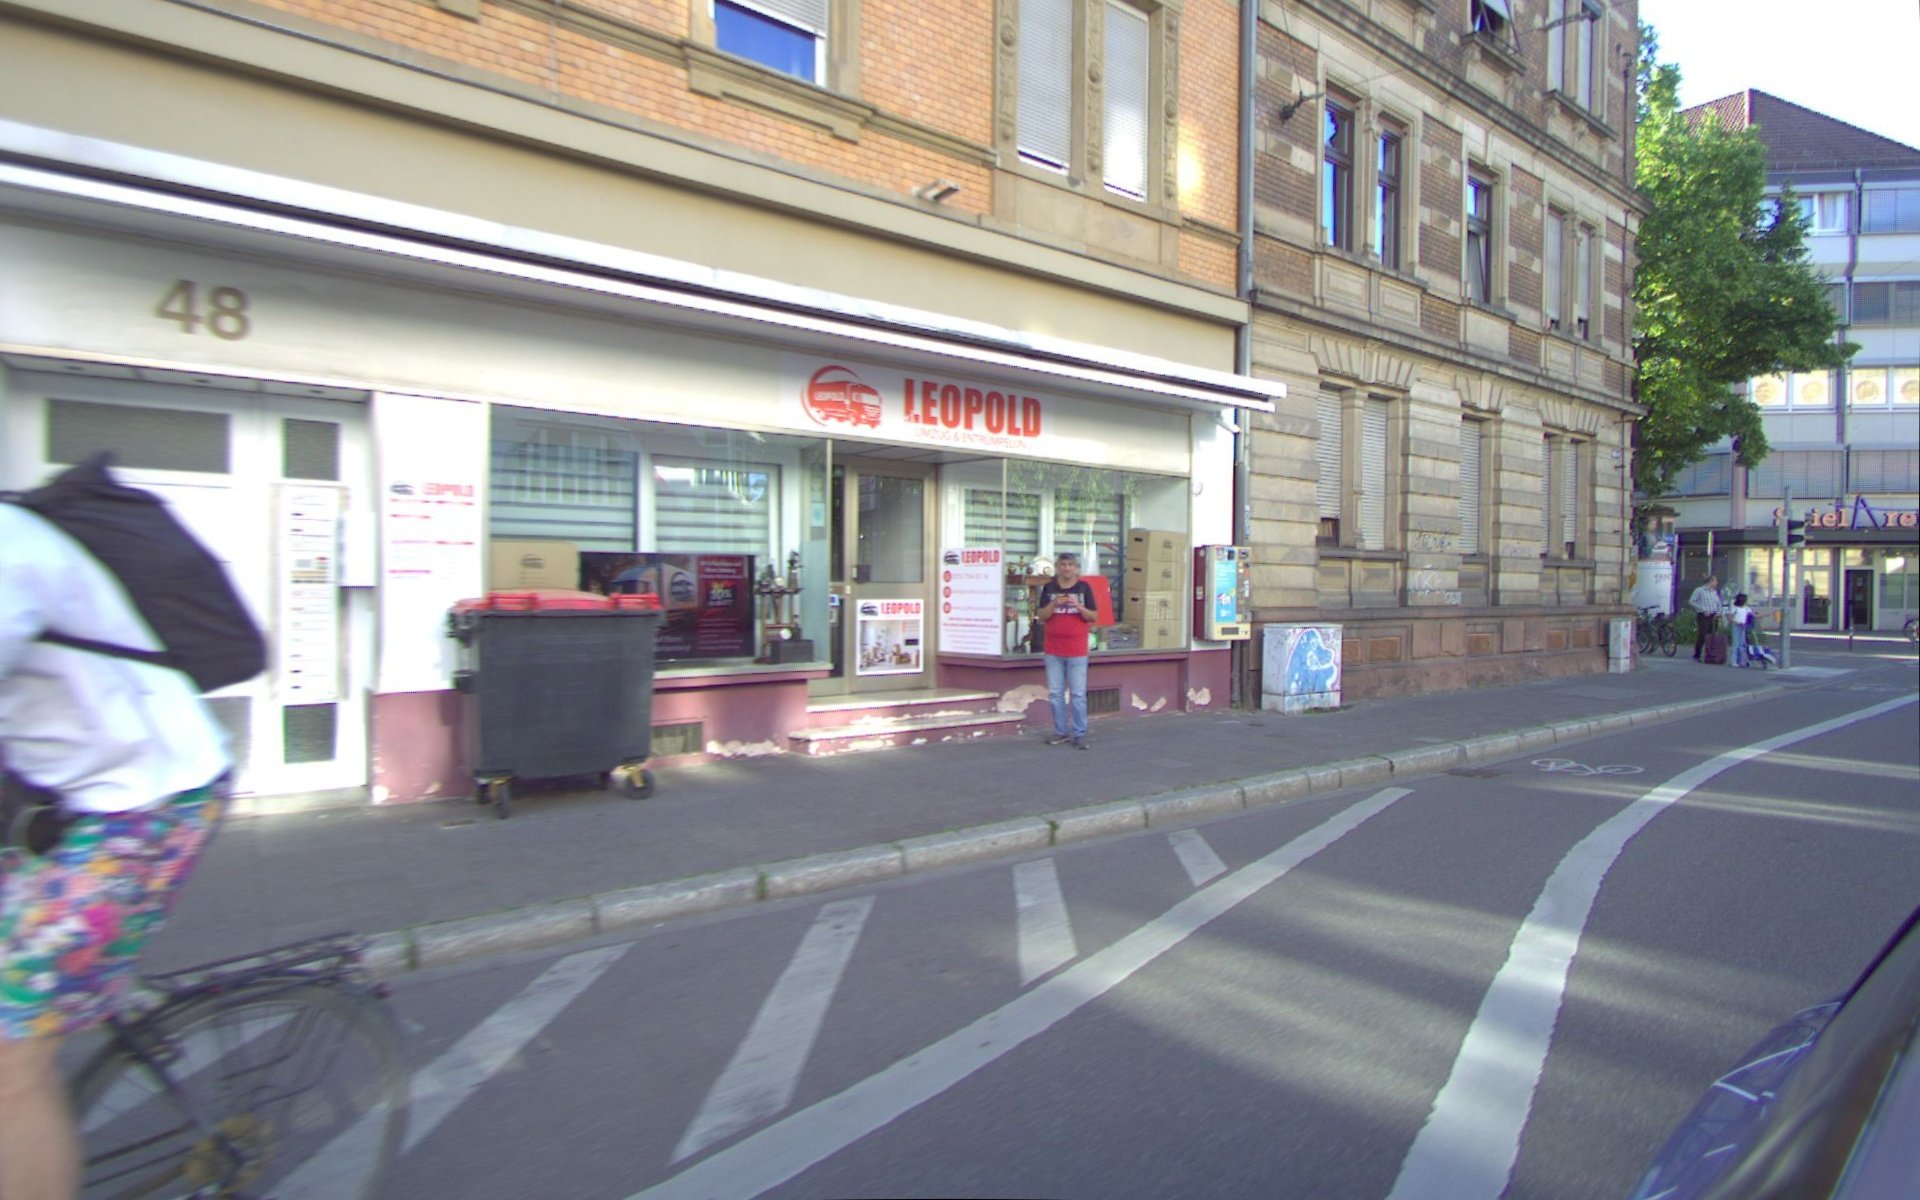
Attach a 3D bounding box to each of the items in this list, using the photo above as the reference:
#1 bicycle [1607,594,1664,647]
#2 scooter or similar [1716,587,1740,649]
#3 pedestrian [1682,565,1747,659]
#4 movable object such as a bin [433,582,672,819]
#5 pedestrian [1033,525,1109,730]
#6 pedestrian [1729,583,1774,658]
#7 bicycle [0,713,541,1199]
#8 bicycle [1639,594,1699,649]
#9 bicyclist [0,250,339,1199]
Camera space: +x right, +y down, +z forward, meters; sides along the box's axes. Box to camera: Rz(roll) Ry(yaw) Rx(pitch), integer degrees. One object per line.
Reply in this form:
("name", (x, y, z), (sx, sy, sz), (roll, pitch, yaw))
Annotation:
("bicycle", (15.483, 0.455, 23.237), (0.437, 1.129, 1.808), (1, 1, 13))
("scooter or similar", (16.885, 0.378, 22.264), (0.389, 1.305, 1.502), (1, 1, 37))
("pedestrian", (15.162, 0.219, 20.363), (0.841, 1.830, 0.868), (1, 1, 26))
("movable object such as a bin", (-2.630, 0.571, 6.562), (1.276, 1.364, 0.777), (-1, 1, -38))
("pedestrian", (0.976, 0.233, 8.958), (0.576, 1.750, 0.471), (1, 1, 0))
("pedestrian", (15.539, 0.394, 19.875), (0.575, 1.432, 0.571), (-1, -1, 27))
("bicycle", (-1.842, 0.892, 1.670), (0.646, 1.153, 2.065), (0, 1, 40))
("bicycle", (15.845, 0.455, 22.663), (0.437, 1.129, 1.808), (1, 1, 13))
("bicyclist", (-1.716, 0.297, 1.783), (0.654, 1.676, 0.913), (0, 1, 42))
